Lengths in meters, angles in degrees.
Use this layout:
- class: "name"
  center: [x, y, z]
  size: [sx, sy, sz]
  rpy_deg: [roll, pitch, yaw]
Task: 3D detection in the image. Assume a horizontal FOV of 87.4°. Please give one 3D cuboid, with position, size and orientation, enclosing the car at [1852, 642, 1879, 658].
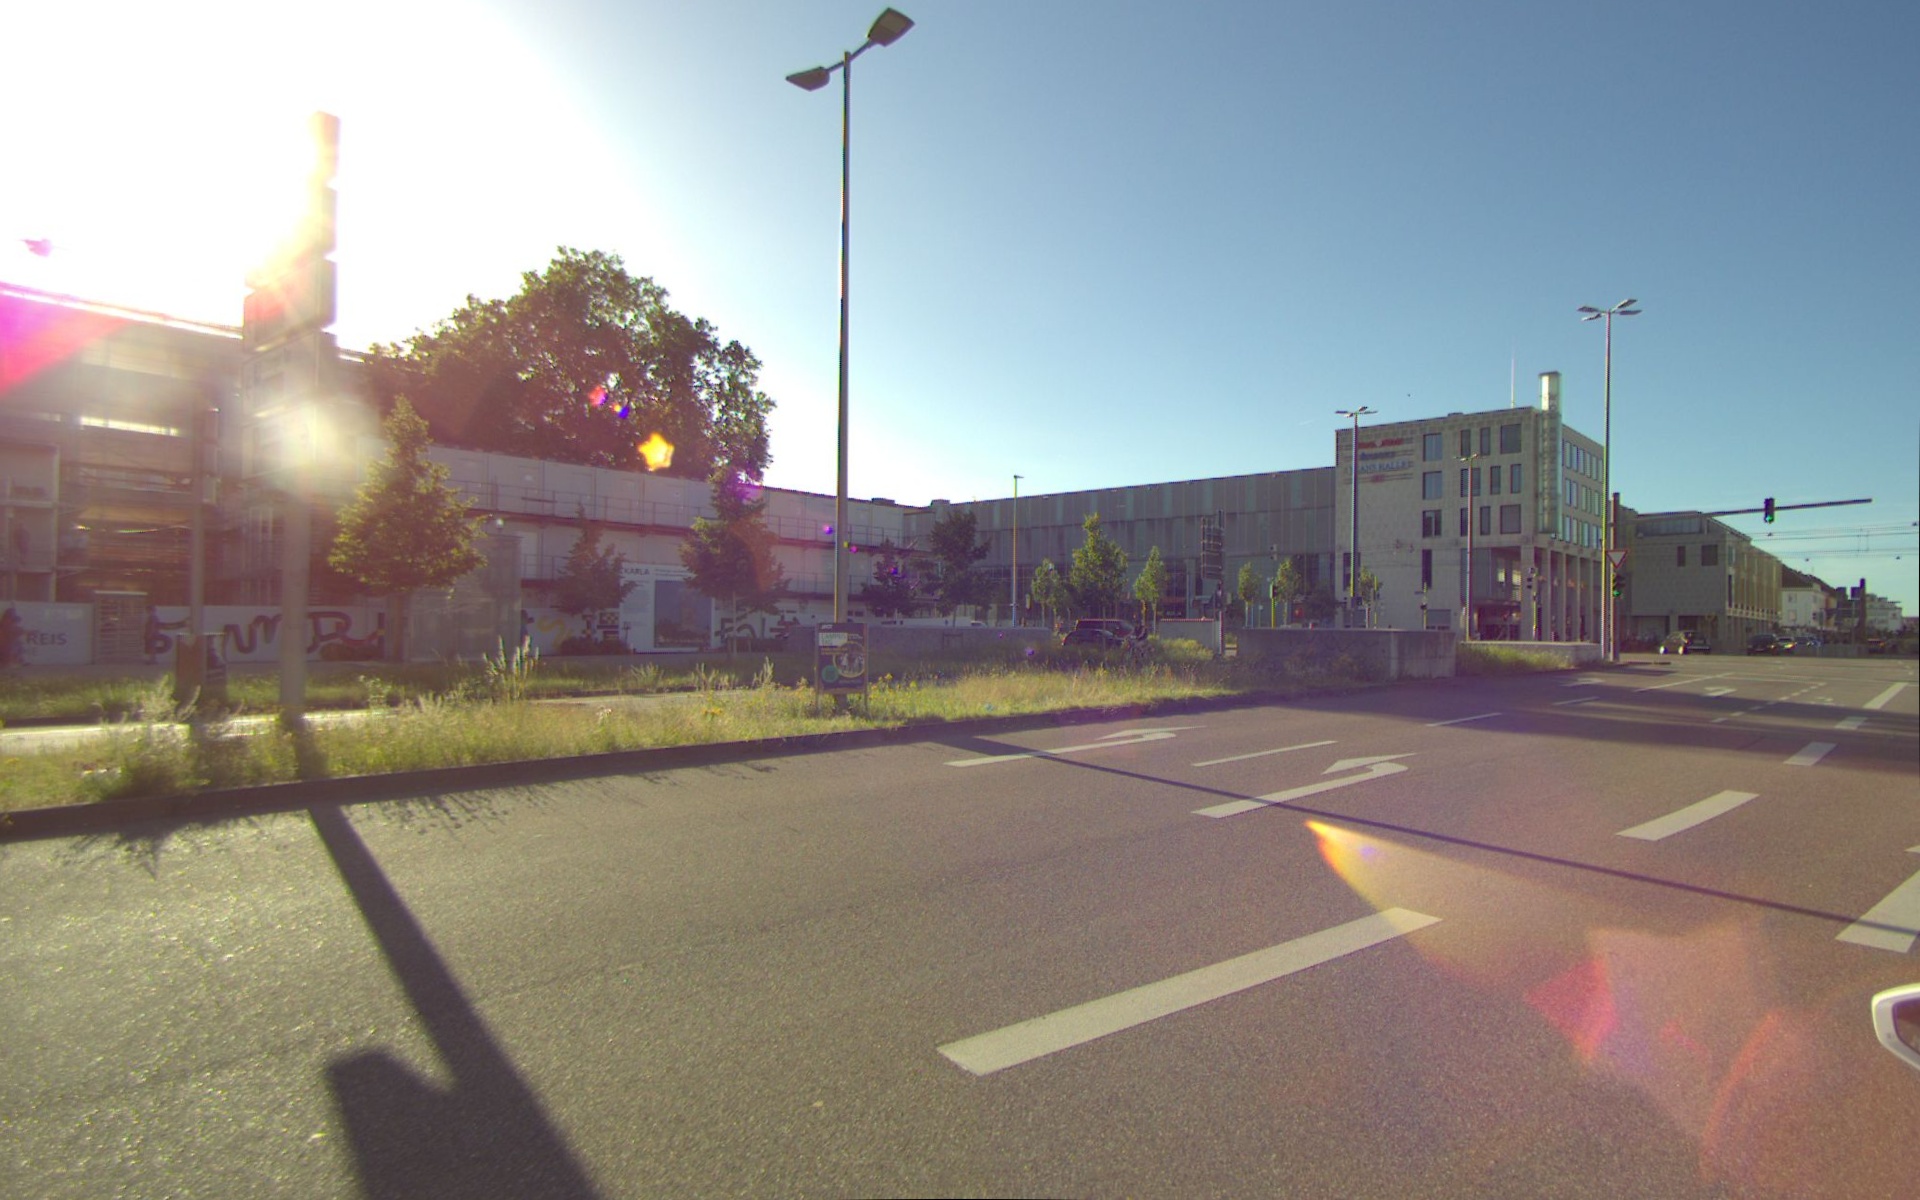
- class: "car"
  center: [96.149, 5.268, 106.688]
  size: [1.970, 1.572, 3.982]
  rpy_deg: [0, -2, 39]

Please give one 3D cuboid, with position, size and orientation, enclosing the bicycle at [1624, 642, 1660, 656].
- class: "bicycle"
  center: [72.606, 5.213, 106.944]
  size: [3.017, 1.419, 0.898]
  rpy_deg: [-1, -2, 43]

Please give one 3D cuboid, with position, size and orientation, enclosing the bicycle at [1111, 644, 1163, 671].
- class: "bicycle"
  center: [5.930, 1.904, 33.550]
  size: [1.934, 0.873, 0.607]
  rpy_deg: [2, -1, -39]

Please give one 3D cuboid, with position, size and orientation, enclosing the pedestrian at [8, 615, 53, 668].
- class: "pedestrian"
  center: [-25.059, 1.113, 27.081]
  size: [0.573, 1.396, 0.831]
  rpy_deg: [-1, -1, 44]

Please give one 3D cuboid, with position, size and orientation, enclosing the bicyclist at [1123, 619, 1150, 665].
- class: "bicyclist"
  center: [5.894, 1.397, 33.541]
  size: [0.675, 1.508, 0.602]
  rpy_deg: [1, -1, -39]

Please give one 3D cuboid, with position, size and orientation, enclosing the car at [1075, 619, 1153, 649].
- class: "car"
  center: [9.731, 2.160, 63.596]
  size: [4.583, 1.833, 1.865]
  rpy_deg: [-1, -4, 39]

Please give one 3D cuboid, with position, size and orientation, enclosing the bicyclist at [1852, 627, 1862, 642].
- class: "bicyclist"
  center: [86.909, 3.331, 97.296]
  size: [0.738, 1.480, 0.762]
  rpy_deg: [0, -2, 44]

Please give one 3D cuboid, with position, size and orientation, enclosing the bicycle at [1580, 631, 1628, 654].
- class: "bicycle"
  center: [57.916, 3.815, 90.375]
  size: [3.577, 2.040, 1.082]
  rpy_deg: [-1, -2, 39]

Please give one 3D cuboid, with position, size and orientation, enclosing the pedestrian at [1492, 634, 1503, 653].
- class: "pedestrian"
  center: [46.561, 3.792, 87.007]
  size: [0.649, 1.629, 0.616]
  rpy_deg: [2, -2, -45]

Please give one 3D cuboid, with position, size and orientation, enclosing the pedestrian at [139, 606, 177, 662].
- class: "pedestrian"
  center: [-24.783, 1.042, 31.054]
  size: [0.573, 1.711, 0.831]
  rpy_deg: [-1, -1, 44]

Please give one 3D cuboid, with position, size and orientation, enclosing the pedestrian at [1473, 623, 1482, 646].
- class: "pedestrian"
  center: [46.090, 3.035, 89.481]
  size: [0.615, 2.040, 0.514]
  rpy_deg: [0, -1, 38]

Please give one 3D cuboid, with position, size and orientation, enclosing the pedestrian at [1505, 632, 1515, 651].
- class: "pedestrian"
  center: [47.241, 3.577, 86.291]
  size: [0.649, 1.629, 0.616]
  rpy_deg: [2, -2, -45]

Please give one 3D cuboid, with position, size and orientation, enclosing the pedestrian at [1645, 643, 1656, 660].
- class: "pedestrian"
  center: [67.074, 4.979, 97.564]
  size: [0.729, 1.629, 0.625]
  rpy_deg: [0, -1, 19]

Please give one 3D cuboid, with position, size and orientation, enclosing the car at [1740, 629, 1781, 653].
- class: "car"
  center: [62.821, 3.184, 78.806]
  size: [4.615, 1.766, 1.974]
  rpy_deg: [0, 0, -45]

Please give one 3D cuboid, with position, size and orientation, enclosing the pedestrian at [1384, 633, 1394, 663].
- class: "pedestrian"
  center: [29.295, 3.297, 68.640]
  size: [0.507, 2.040, 0.623]
  rpy_deg: [0, -1, 33]

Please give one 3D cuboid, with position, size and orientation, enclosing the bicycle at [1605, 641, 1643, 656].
- class: "bicycle"
  center: [65.598, 4.785, 99.291]
  size: [3.017, 1.419, 0.898]
  rpy_deg: [-1, -2, 43]

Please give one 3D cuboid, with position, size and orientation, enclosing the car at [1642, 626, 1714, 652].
- class: "car"
  center: [45.822, 2.488, 64.209]
  size: [1.748, 1.584, 3.787]
  rpy_deg: [0, -1, -4]

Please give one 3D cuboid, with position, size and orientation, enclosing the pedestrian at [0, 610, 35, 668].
- class: "pedestrian"
  center: [-25.930, 1.060, 27.504]
  size: [0.573, 1.579, 0.831]
  rpy_deg: [-1, -1, 44]

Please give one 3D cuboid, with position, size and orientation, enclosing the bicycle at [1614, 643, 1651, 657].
- class: "bicycle"
  center: [68.620, 5.091, 102.485]
  size: [3.017, 1.419, 0.898]
  rpy_deg: [-1, -2, 43]

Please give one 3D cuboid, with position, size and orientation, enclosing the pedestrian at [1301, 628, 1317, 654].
- class: "pedestrian"
  center: [21.120, 2.480, 60.759]
  size: [0.712, 1.522, 0.800]
  rpy_deg: [0, -1, 37]

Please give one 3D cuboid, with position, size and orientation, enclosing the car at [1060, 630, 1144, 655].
- class: "car"
  center: [8.296, 2.485, 59.038]
  size: [4.583, 1.392, 1.865]
  rpy_deg: [-1, -4, 39]

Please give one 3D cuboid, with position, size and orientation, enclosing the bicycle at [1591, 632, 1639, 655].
- class: "bicycle"
  center: [60.055, 3.959, 92.152]
  size: [3.581, 2.040, 1.081]
  rpy_deg: [-1, -2, 43]

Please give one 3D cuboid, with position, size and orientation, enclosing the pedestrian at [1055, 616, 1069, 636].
- class: "pedestrian"
  center: [7.991, 2.044, 78.818]
  size: [0.790, 1.522, 0.721]
  rpy_deg: [0, -1, 38]

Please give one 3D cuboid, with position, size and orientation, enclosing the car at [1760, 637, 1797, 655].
- class: "car"
  center: [71.724, 3.978, 87.978]
  size: [4.614, 1.374, 1.974]
  rpy_deg: [0, 0, -44]

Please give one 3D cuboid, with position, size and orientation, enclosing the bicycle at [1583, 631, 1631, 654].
- class: "bicycle"
  center: [58.829, 3.884, 91.343]
  size: [3.581, 2.040, 1.081]
  rpy_deg: [-1, -2, 43]
